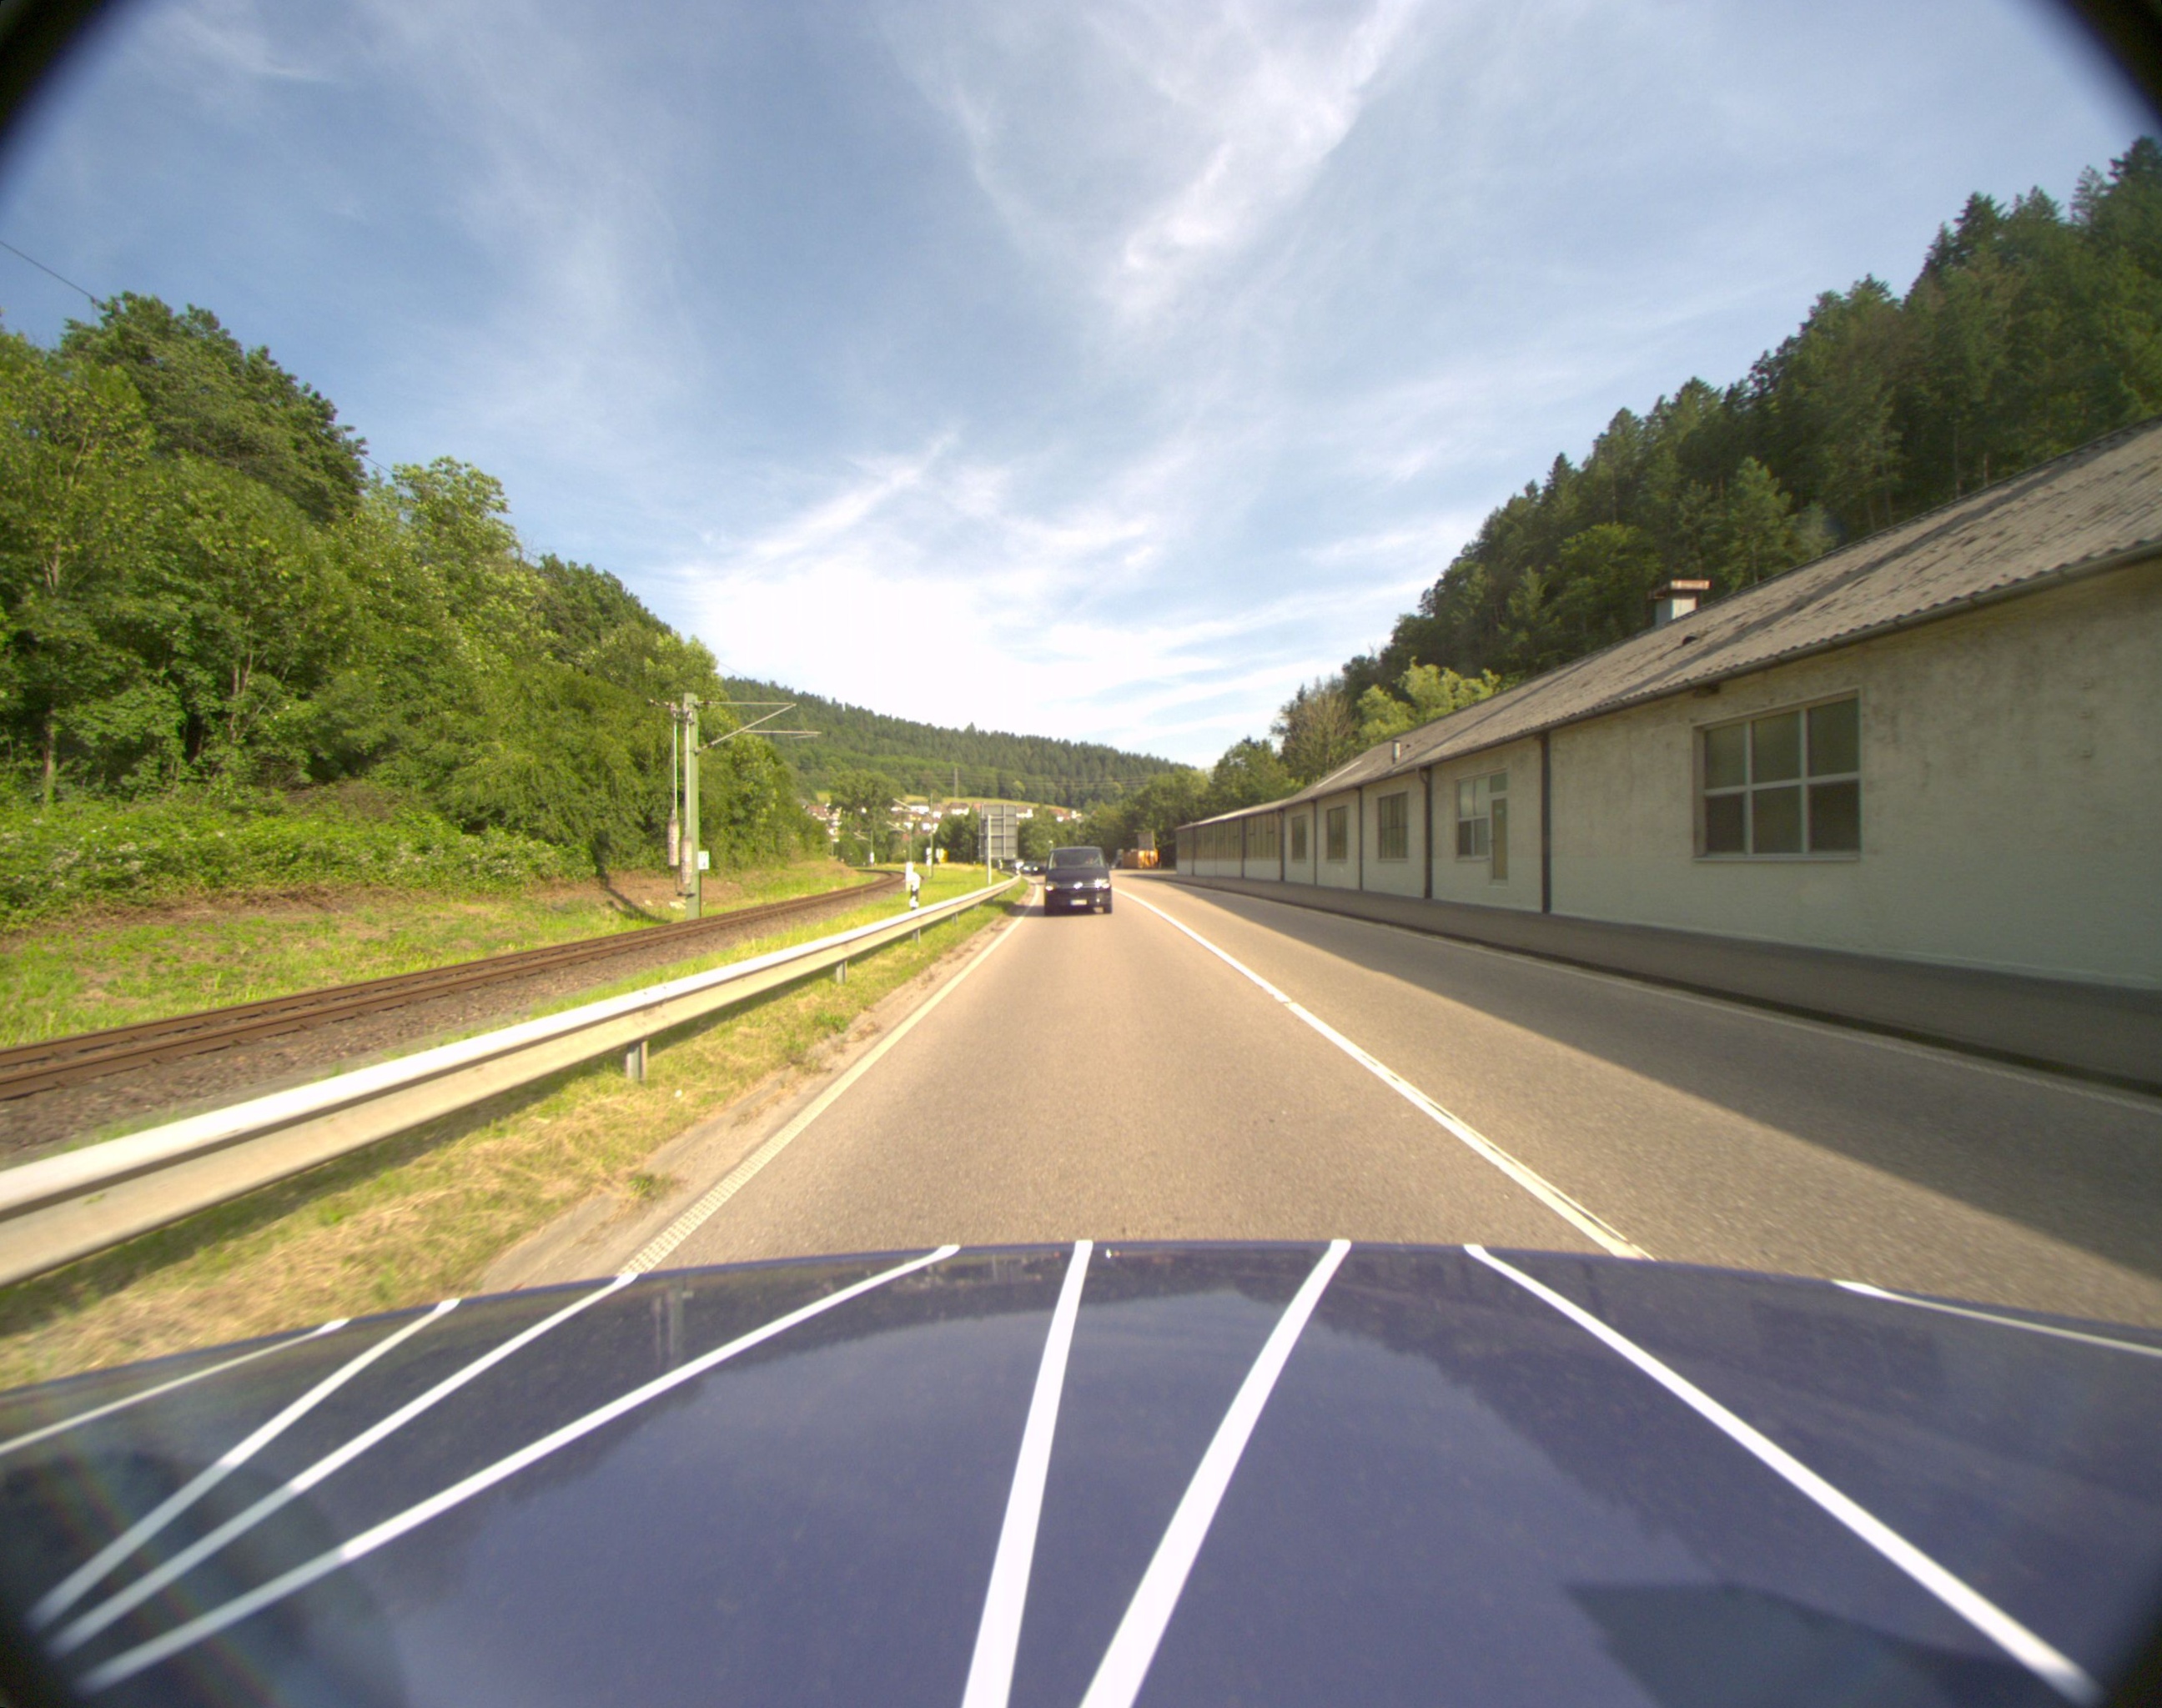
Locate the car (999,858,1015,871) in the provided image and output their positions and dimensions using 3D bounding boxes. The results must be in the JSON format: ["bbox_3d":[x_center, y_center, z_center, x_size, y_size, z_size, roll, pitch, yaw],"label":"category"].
[{"bbox_3d":[-10.117,1.413,104.010,1.874,1.583,4.048,-2,0,-10],"label":"car"}]

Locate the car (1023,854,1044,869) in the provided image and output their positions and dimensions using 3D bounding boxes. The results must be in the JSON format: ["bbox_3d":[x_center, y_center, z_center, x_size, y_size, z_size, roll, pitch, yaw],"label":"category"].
[{"bbox_3d":[-5.329,0.910,85.125,1.874,1.583,4.049,-1,-1,-10],"label":"car"}]

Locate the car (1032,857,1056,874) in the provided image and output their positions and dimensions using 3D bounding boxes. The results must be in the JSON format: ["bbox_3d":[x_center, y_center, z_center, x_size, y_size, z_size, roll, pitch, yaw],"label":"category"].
[{"bbox_3d":[-3.670,1.157,75.471,1.874,1.583,4.049,-1,-1,-10],"label":"car"}]

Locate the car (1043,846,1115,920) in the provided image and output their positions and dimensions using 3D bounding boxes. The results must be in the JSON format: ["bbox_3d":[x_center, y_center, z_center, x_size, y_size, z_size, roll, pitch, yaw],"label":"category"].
[{"bbox_3d":[-0.129,0.792,23.098,1.901,1.927,5.188,-2,0,-2],"label":"car"}]

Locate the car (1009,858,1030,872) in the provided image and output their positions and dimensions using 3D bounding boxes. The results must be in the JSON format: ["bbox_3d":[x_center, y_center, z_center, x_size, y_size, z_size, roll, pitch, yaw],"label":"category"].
[{"bbox_3d":[-9.265,1.631,114.171,2.002,2.002,3.993,-2,1,-20],"label":"car"}]
